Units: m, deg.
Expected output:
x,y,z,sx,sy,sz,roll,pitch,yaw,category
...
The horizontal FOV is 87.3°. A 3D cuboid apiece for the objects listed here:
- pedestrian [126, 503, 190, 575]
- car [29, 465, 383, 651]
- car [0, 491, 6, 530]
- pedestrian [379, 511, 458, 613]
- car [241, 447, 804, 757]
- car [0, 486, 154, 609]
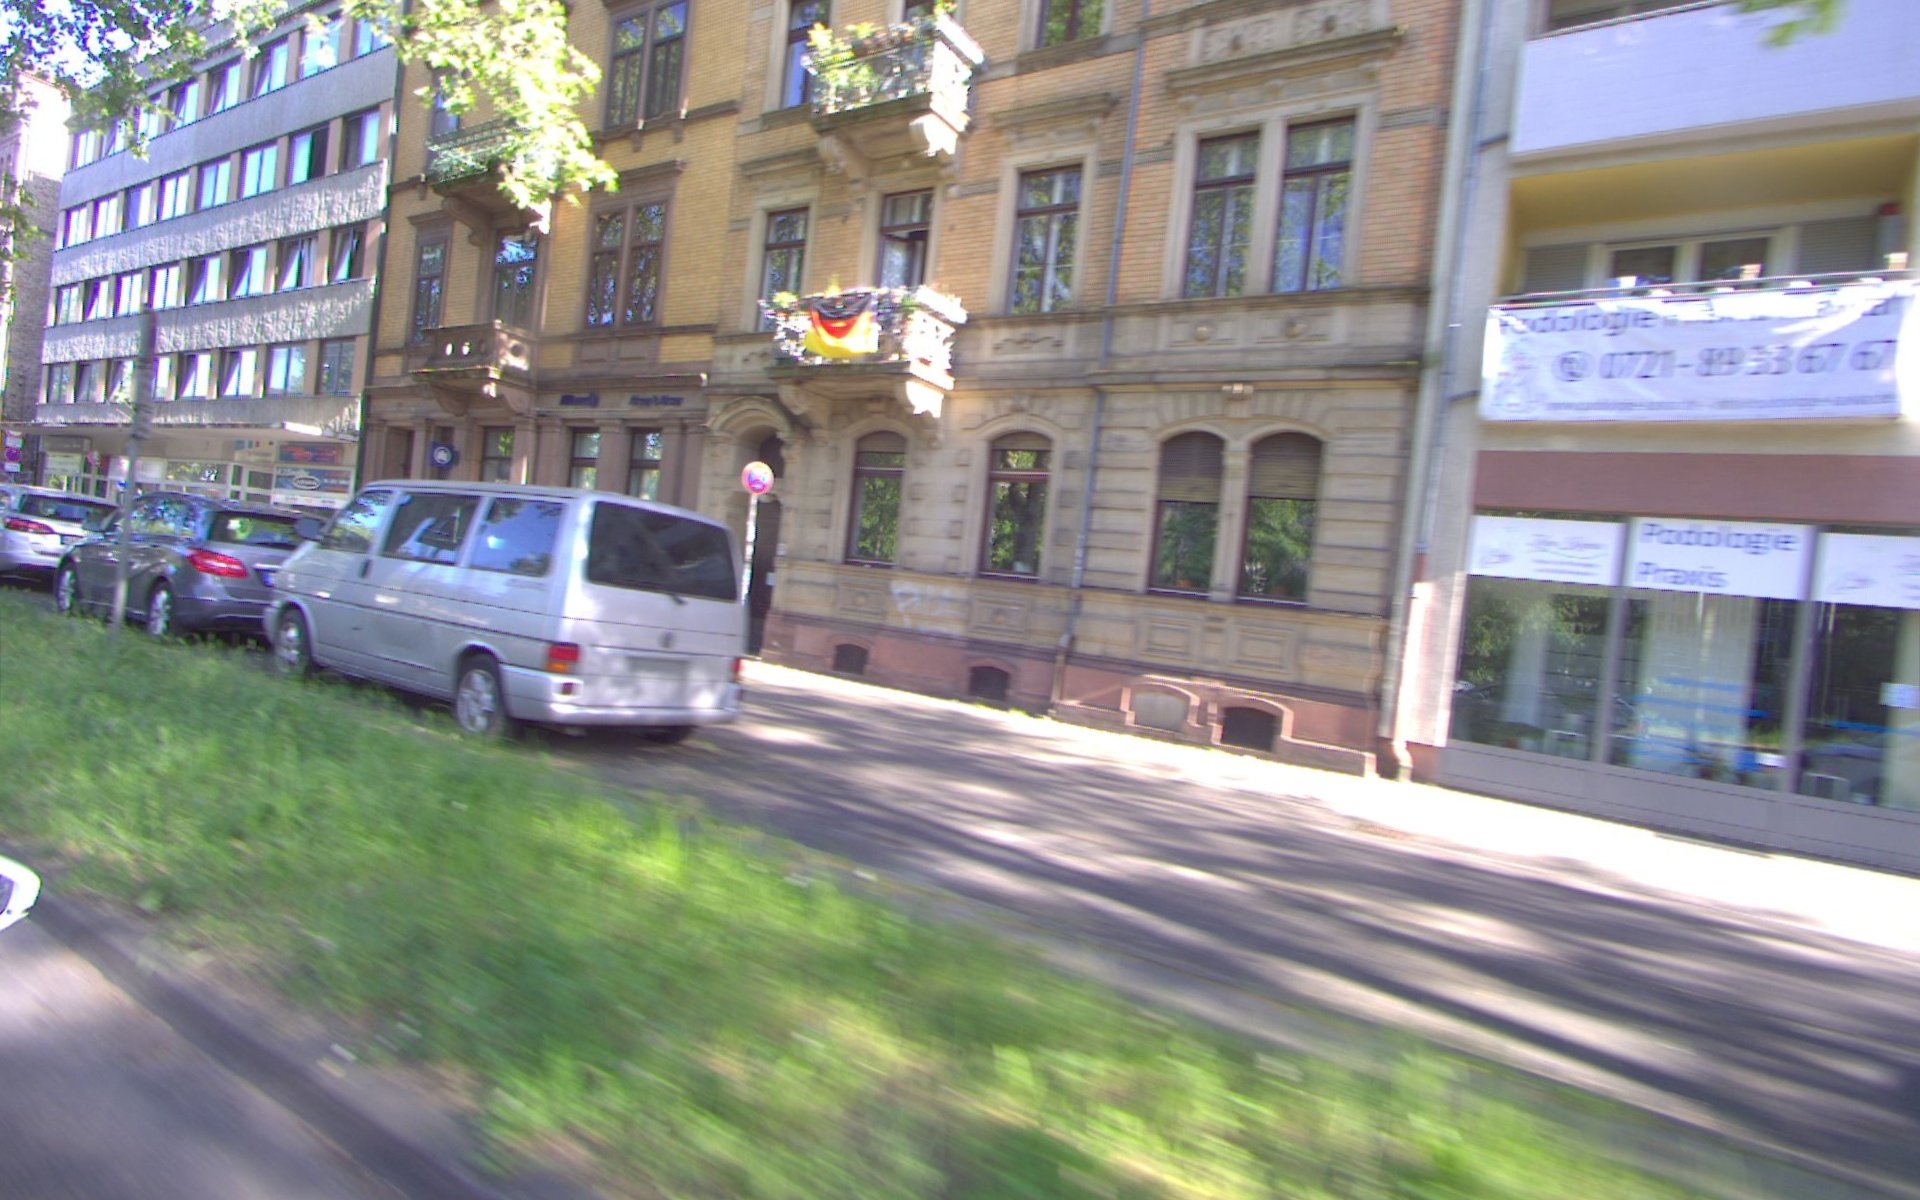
x,y,z,sx,sy,sz,roll,pitch,yaw,category
-21.785,-1.648,27.325,0.703,1.781,1.001,8,-1,33,pedestrian
-8.570,-0.518,11.330,4.287,1.519,1.707,7,-2,33,car
-19.405,-1.498,18.351,4.841,1.507,1.809,7,-2,34,car
-10.739,-0.744,19.972,0.704,1.862,1.000,7,0,35,pedestrian
-3.779,-0.085,8.347,4.722,1.836,1.868,8,-2,34,car
-14.359,-0.915,15.352,4.593,1.483,1.681,7,-2,32,car
